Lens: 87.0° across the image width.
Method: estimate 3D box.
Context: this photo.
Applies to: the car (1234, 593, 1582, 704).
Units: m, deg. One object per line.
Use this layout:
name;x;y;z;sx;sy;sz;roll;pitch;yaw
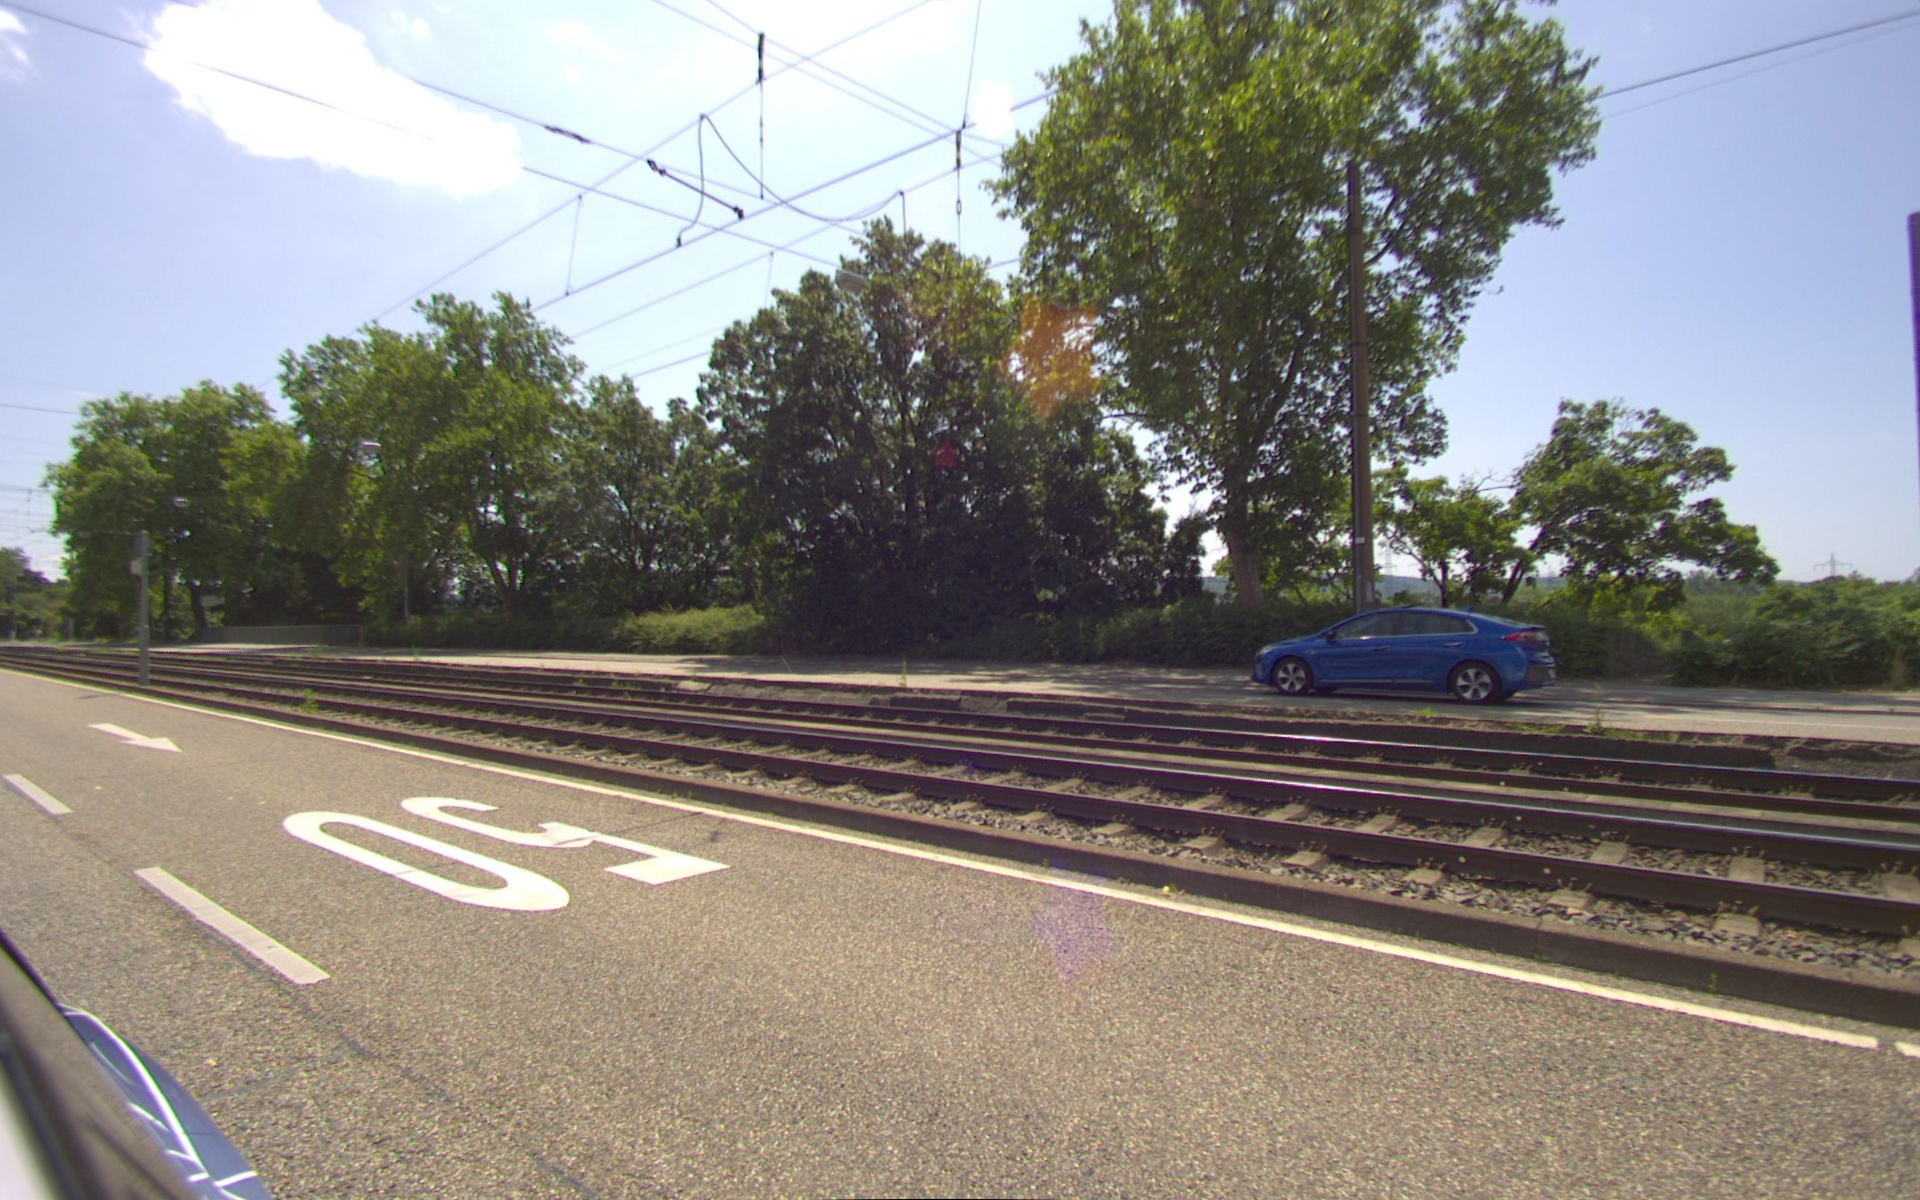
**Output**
car;6.942;0.747;15.992;4.730;1.515;1.781;-2;-3;39
